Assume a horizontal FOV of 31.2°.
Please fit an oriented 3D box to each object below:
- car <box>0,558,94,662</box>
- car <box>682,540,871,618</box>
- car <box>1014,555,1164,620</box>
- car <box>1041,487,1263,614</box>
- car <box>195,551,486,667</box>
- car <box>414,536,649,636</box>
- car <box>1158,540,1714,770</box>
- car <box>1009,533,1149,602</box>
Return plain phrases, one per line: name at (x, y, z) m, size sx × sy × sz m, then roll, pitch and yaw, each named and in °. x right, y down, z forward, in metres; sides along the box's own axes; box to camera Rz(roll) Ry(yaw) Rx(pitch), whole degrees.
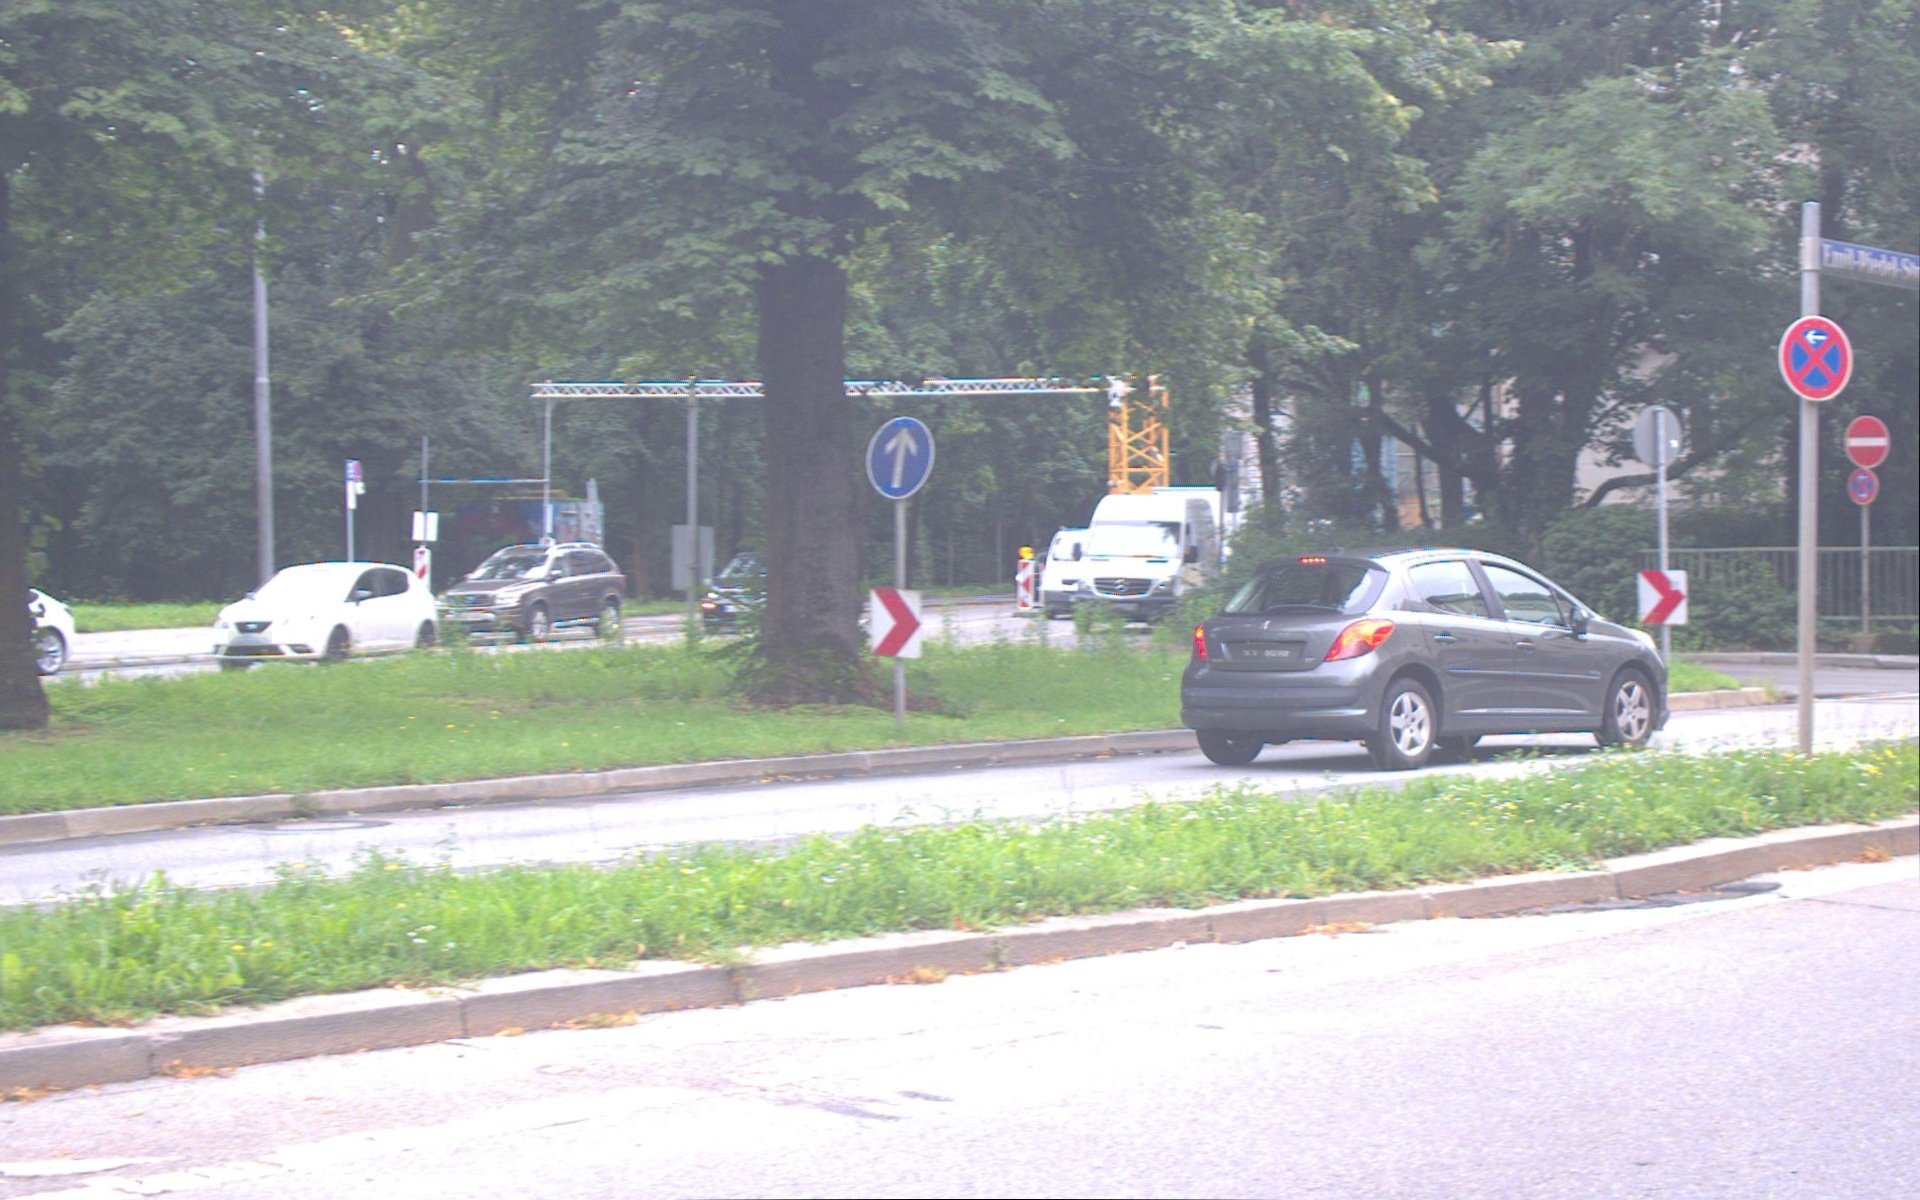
car at (-14.331, 0.161, 47.857) m, size 1.996 × 1.441 × 4.417 m, roll -1°, pitch 0°, yaw 27°
car at (-3.497, -0.422, 66.333) m, size 1.894 × 1.441 × 4.028 m, roll -1°, pitch 1°, yaw 26°
car at (3.065, -0.297, 80.742) m, size 1.894 × 1.441 × 4.382 m, roll -1°, pitch 1°, yaw 26°
car at (3.651, -0.922, 64.369) m, size 2.304 × 2.262 × 5.121 m, roll 0°, pitch 1°, yaw 27°
car at (-8.190, 0.097, 45.836) m, size 1.829 × 1.441 × 4.231 m, roll -1°, pitch 0°, yaw 22°
car at (-7.750, -0.272, 62.635) m, size 1.996 × 1.712 × 4.642 m, roll -1°, pitch 0°, yaw 27°
car at (3.375, 0.322, 23.898) m, size 1.763 × 1.456 × 4.064 m, roll 0°, pitch 1°, yaw 44°
car at (2.648, -0.730, 75.320) m, size 1.893 × 1.441 × 4.295 m, roll -1°, pitch 1°, yaw 19°
